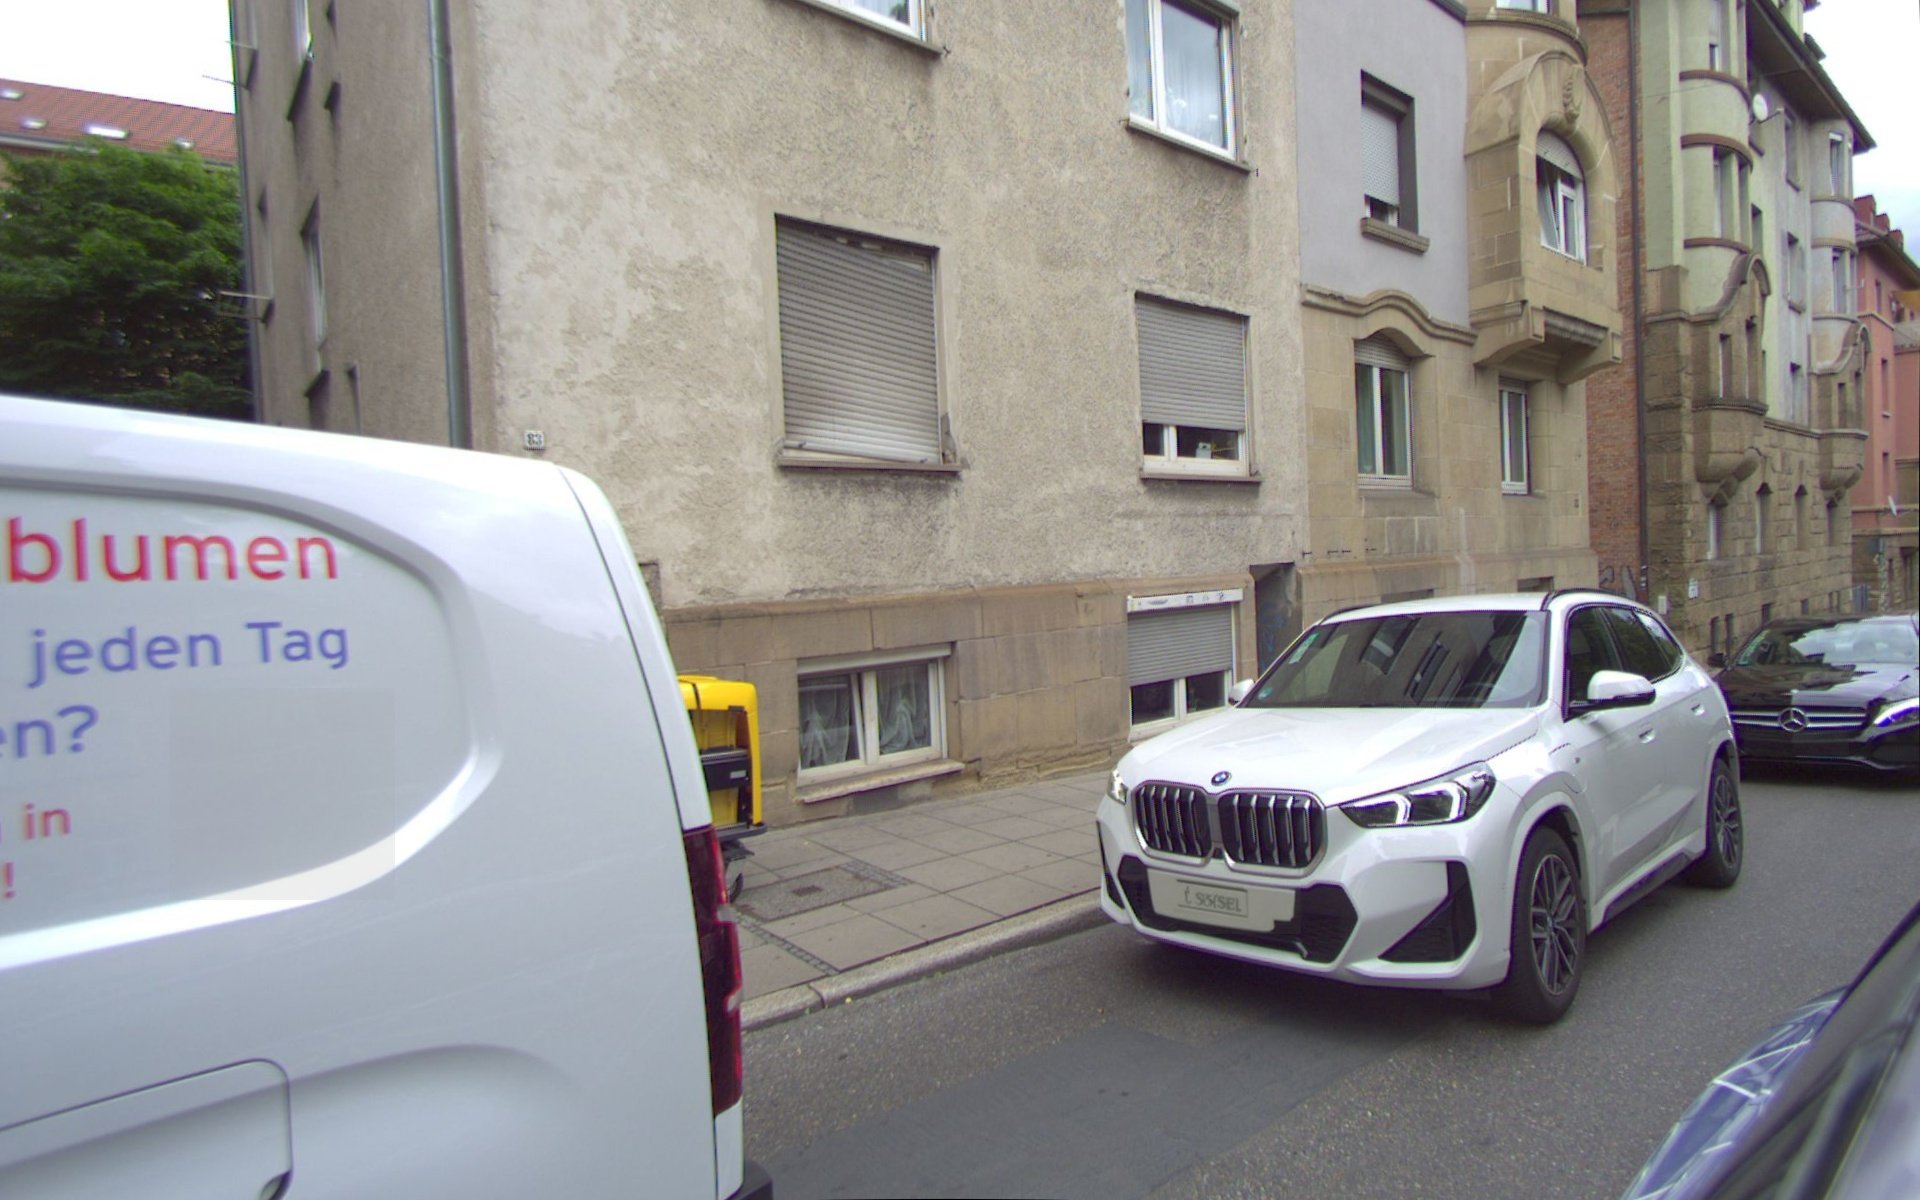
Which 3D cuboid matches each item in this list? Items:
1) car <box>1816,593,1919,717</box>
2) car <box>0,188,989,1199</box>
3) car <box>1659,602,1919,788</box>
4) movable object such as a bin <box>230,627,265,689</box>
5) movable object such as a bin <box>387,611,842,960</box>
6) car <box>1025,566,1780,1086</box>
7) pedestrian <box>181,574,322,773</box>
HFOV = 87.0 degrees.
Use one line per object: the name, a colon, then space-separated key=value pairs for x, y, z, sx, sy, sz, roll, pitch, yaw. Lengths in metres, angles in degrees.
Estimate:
car: x=13.587 y=0.661 z=13.952 sx=4.226 sy=1.534 sz=1.935 roll=-1 pitch=-3 yaw=-40
car: x=-2.320 y=0.576 z=0.912 sx=4.597 sy=1.798 sz=1.977 roll=-1 pitch=-3 yaw=-42
car: x=8.461 y=0.766 z=9.670 sx=4.133 sy=1.395 sz=1.882 roll=-1 pitch=-3 yaw=-41
movable object such as a bin: x=-10.977 y=0.885 z=15.590 sx=0.405 sy=0.923 sz=0.340 roll=0 pitch=0 yaw=-40
movable object such as a bin: x=-1.792 y=0.796 z=5.387 sx=1.979 sy=1.391 sz=1.223 roll=-1 pitch=2 yaw=-43
car: x=2.534 y=0.724 z=5.218 sx=4.276 sy=1.576 sz=1.857 roll=-1 pitch=-4 yaw=-42
pedestrian: x=-6.509 y=0.631 z=9.307 sx=0.808 sy=1.666 sz=0.773 roll=0 pitch=6 yaw=42
